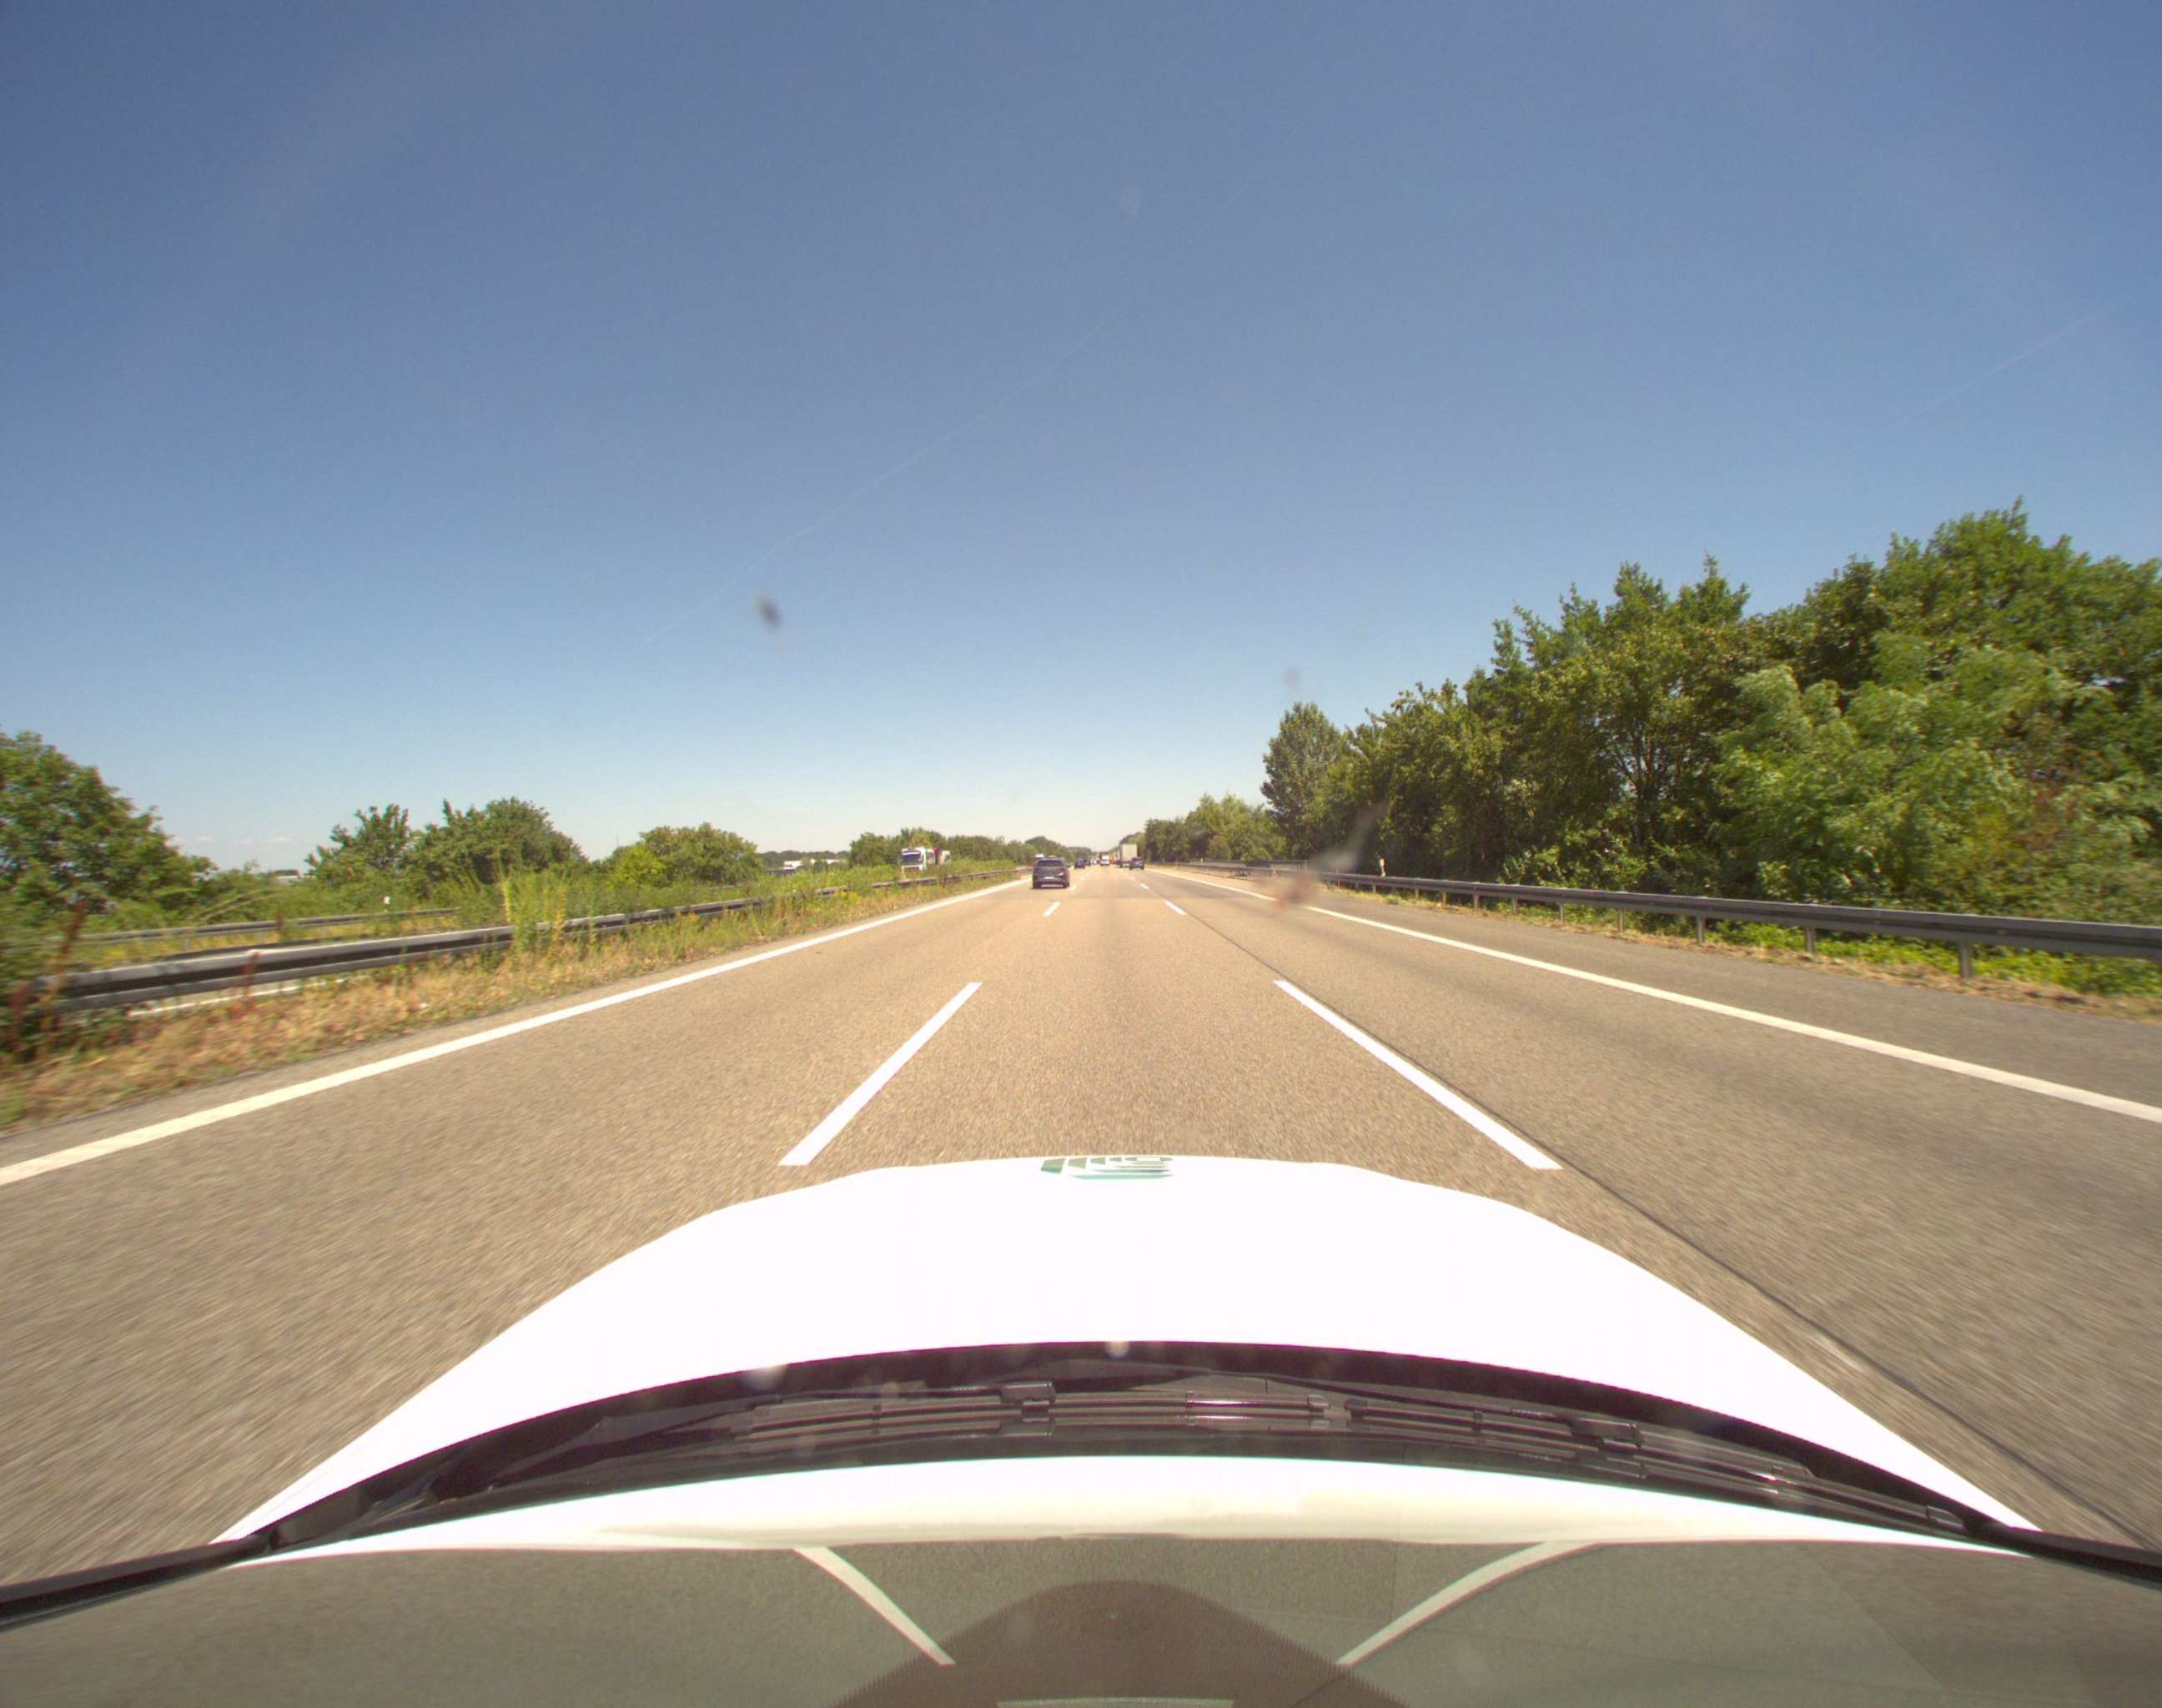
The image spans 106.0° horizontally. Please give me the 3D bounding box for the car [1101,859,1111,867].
[{"bbox_3d":[5.098,1.883,165.790,1.893,1.531,4.085,0,0,2],"label":"car"}]

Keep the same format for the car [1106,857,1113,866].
[{"bbox_3d":[7.963,2.026,227.037,1.900,2.425,4.287,0,0,2],"label":"car"}]

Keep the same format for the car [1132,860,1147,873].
[{"bbox_3d":[7.583,1.656,106.225,1.838,1.629,4.136,-2,-1,2],"label":"car"}]

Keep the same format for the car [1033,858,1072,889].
[{"bbox_3d":[-1.450,0.976,42.840,1.753,1.531,4.287,0,0,2],"label":"car"}]

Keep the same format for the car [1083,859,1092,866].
[{"bbox_3d":[1.356,1.848,175.013,1.900,1.531,4.287,0,0,2],"label":"car"}]

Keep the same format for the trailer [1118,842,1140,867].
[{"bbox_3d":[8.240,0.180,140.161,3.421,4.181,13.637,0,-1,2],"label":"trailer"}]

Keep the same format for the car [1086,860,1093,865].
[{"bbox_3d":[2.607,2.587,242.987,1.900,1.531,4.287,0,0,2],"label":"car"}]

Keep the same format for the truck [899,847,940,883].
[{"bbox_3d":[-18.533,1.216,94.208,2.908,3.990,9.621,0,0,0],"label":"truck"}]

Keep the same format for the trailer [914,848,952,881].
[{"bbox_3d":[-18.534,1.236,102.276,2.916,3.990,9.658,0,0,0],"label":"trailer"}]

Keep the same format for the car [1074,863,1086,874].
[{"bbox_3d":[-0.137,2.257,127.822,1.893,1.531,4.085,0,0,2],"label":"car"}]

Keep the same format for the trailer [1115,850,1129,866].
[{"bbox_3d":[10.164,0.944,201.842,3.112,3.926,9.937,0,0,1],"label":"trailer"}]

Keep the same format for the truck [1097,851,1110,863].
[{"bbox_3d":[7.031,0.900,251.415,3.652,3.726,7.113,0,0,3],"label":"truck"}]
